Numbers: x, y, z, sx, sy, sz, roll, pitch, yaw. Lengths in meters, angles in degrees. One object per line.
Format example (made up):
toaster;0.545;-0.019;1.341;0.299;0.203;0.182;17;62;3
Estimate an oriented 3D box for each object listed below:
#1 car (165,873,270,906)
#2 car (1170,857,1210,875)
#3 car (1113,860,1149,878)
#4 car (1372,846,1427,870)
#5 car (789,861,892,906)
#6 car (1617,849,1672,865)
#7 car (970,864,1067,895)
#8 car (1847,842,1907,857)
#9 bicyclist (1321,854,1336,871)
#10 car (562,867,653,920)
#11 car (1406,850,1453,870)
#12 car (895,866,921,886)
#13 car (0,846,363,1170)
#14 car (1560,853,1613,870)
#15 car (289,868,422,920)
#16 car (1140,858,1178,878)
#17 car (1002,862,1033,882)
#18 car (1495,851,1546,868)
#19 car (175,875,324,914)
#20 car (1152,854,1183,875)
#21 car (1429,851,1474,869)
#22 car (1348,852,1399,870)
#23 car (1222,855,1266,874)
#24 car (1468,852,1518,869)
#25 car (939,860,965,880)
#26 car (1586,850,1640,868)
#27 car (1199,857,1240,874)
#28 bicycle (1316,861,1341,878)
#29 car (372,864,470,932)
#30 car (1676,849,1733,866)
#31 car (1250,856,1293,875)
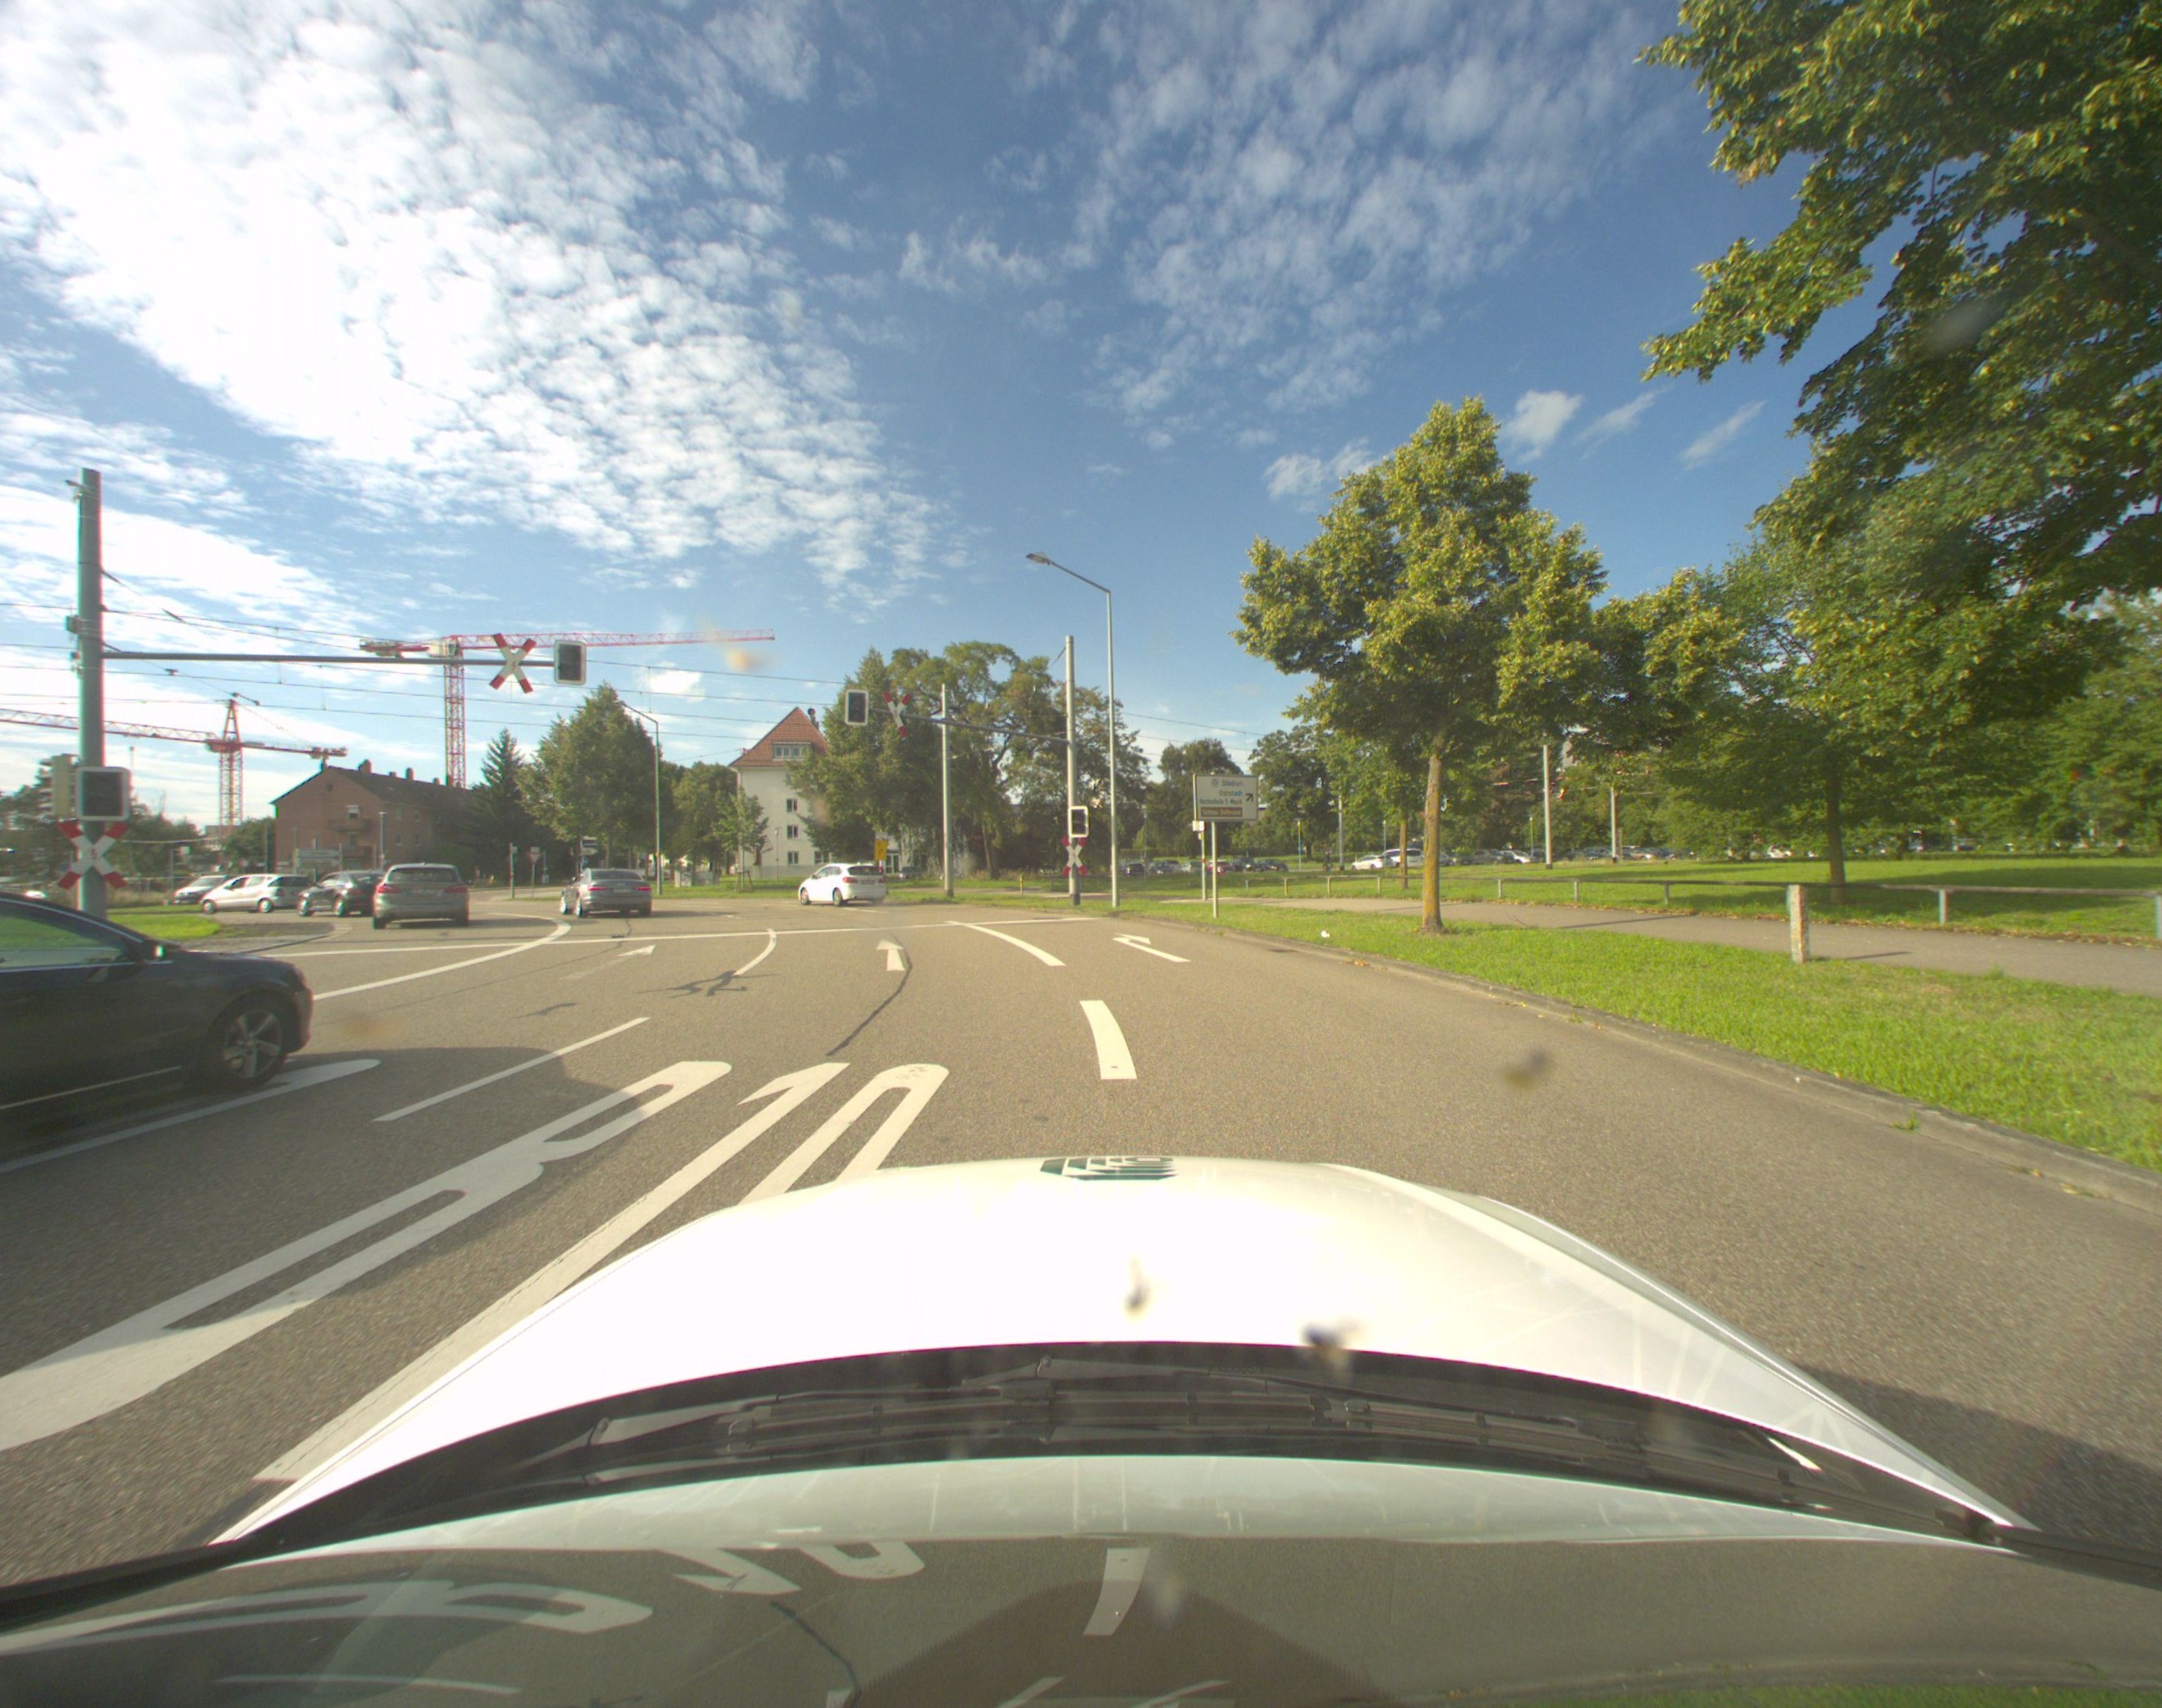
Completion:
car;-53.574;2.142;50.656;1.894;1.903;4.648;0;-1;-7
car;9.093;1.001;68.132;1.856;1.358;4.815;-1;-1;-11
car;4.039;1.213;66.501;1.856;1.359;4.715;-1;-1;-11
car;28.220;0.359;72.278;2.308;2.007;5.099;-1;-1;-8
car;-9.128;1.088;30.754;4.399;1.572;1.867;-2;-2;45
car;54.230;0.326;78.464;1.852;1.454;4.457;-1;-1;-8
car;-3.108;1.240;40.168;4.646;1.431;1.895;0;-1;-11
car;83.052;-0.446;85.064;1.848;1.541;4.467;-2;-1;-1
bicyclist;19.235;0.661;63.336;1.011;1.355;0.705;-1;-1;-43
car;-14.404;1.142;24.627;1.865;1.445;4.662;0;-2;-37
car;31.195;0.530;73.119;2.091;1.674;4.464;-2;-1;-3
car;-13.210;1.671;62.449;1.856;1.381;4.498;-1;-1;-11
car;-6.198;0.733;3.631;1.991;1.566;4.835;1;0;-6
car;47.843;0.685;77.225;1.796;1.515;4.457;-1;-1;-8
car;-23.443;1.254;26.307;3.949;1.541;2.012;-1;-2;30
car;6.375;1.164;67.126;1.856;1.515;4.729;-1;-1;-11
car;-5.053;1.403;64.255;1.856;1.515;4.715;-1;-1;-11
car;40.377;0.512;74.901;1.854;1.504;4.457;-1;-1;-8
car;-33.320;1.596;32.682;4.416;1.478;1.860;-1;-1;7
car;8.418;1.057;79.909;1.871;2.014;4.795;1;-2;-9
car;33.385;0.563;73.441;2.026;1.515;4.107;-2;-1;-3
car;25.567;0.646;71.392;1.860;1.515;4.440;-1;-1;-19
car;13.734;0.913;68.842;1.856;1.515;4.926;-1;-1;-11
car;37.665;0.613;74.537;1.854;1.399;4.457;-1;-1;-8
car;-10.145;1.229;63.700;1.856;1.440;4.715;-1;-1;-11
car;50.466;0.498;77.345;1.852;1.541;4.457;-1;-1;-8
car;11.613;0.945;68.559;1.856;1.363;4.452;-1;-1;-11
bicycle;19.245;1.198;63.316;2.543;1.222;0.705;-1;0;-43
car;-16.809;1.058;20.789;1.782;1.572;4.020;1;-2;-39
car;61.670;0.391;80.682;1.852;1.541;4.457;-1;-1;-8
car;16.227;0.973;69.636;1.856;1.515;4.452;-1;-1;-11
